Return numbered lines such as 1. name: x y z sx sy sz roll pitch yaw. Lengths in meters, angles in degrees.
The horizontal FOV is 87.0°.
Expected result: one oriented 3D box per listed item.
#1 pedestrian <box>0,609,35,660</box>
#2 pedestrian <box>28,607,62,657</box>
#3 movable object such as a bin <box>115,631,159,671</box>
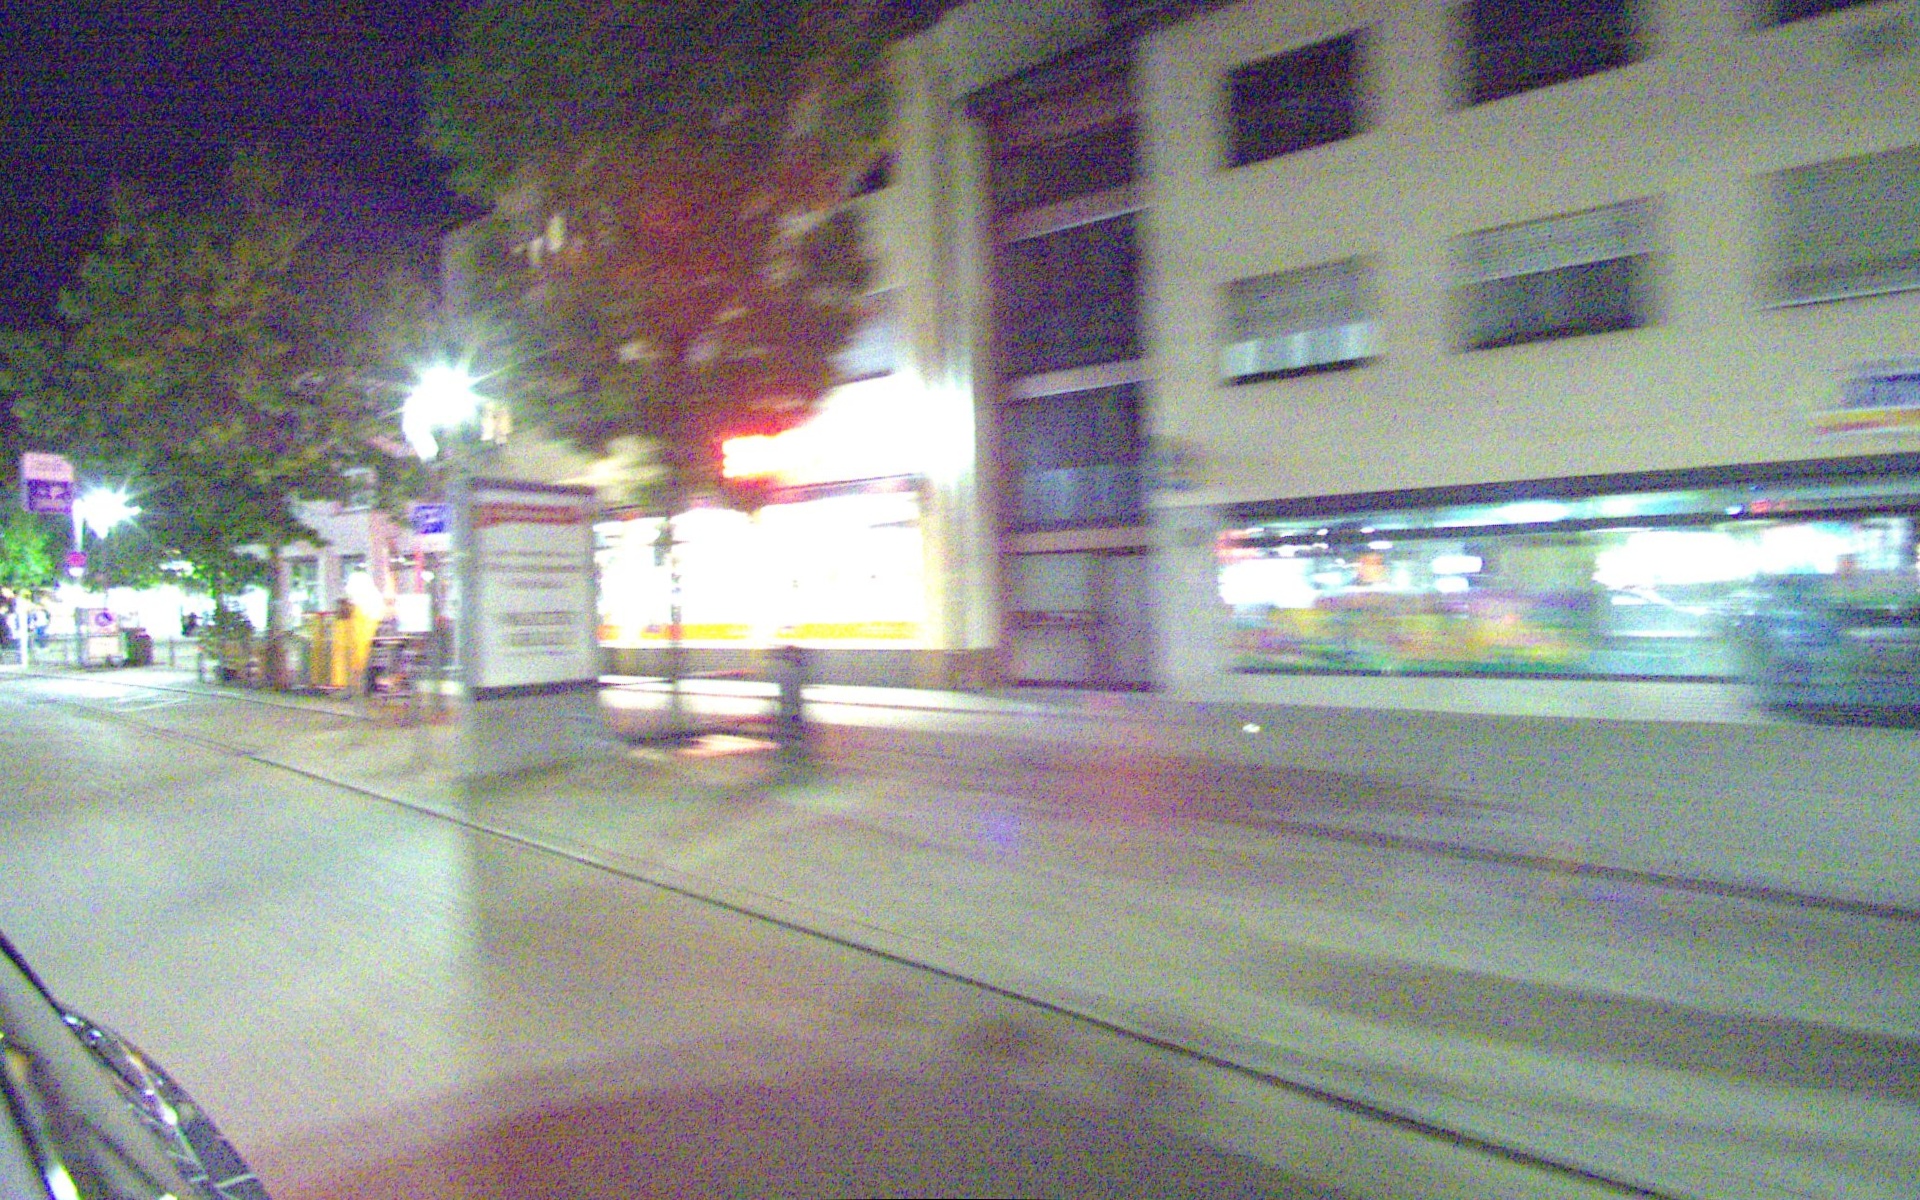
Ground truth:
1. pedestrian: -35.515 1.274 38.079 0.866 1.845 0.793 -2 1 -33
2. pedestrian: -34.597 1.211 38.294 0.781 1.831 1.026 -2 1 -36
3. movable object such as a bin: -23.209 1.428 28.537 0.789 1.073 0.741 0 0 31
